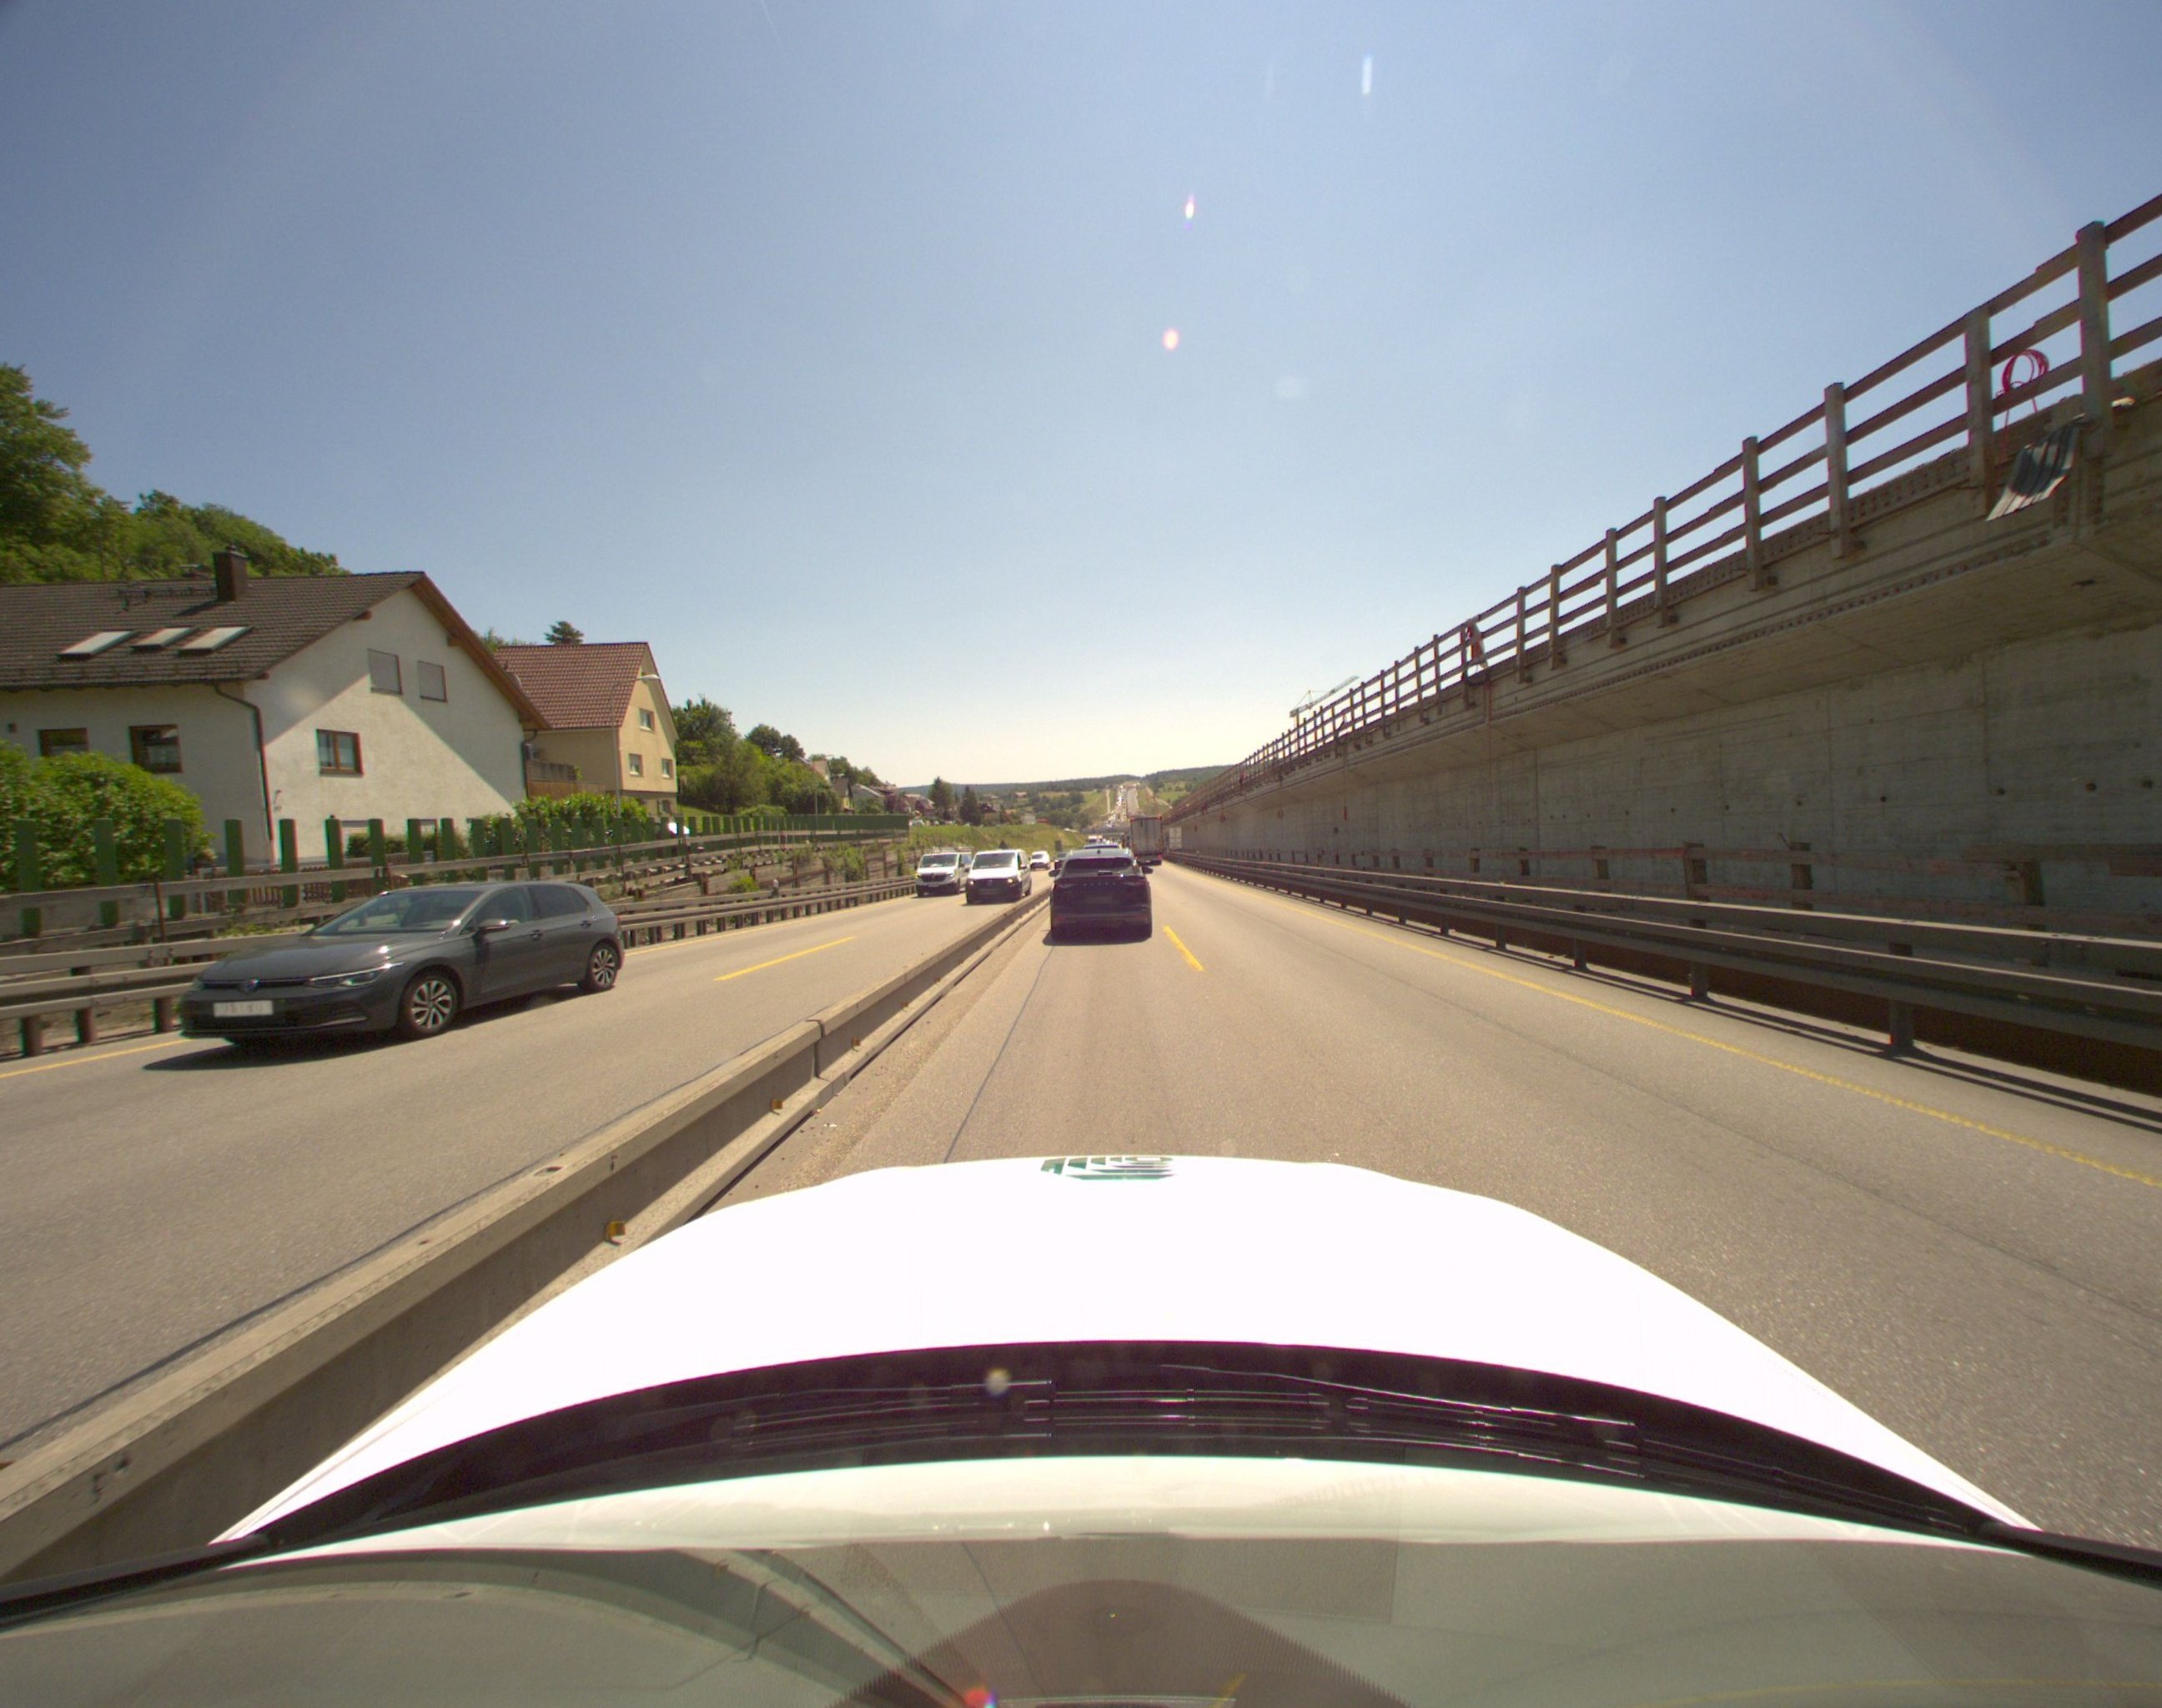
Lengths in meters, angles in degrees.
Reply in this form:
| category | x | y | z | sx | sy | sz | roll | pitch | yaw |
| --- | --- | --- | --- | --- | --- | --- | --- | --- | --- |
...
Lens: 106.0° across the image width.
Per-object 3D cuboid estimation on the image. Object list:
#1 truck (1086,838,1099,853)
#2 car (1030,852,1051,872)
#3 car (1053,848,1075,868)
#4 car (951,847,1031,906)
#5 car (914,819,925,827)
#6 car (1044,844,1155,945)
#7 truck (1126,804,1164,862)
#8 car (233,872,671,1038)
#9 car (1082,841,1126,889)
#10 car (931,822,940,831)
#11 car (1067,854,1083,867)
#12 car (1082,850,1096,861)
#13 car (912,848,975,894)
| category | x | y | z | sx | sy | sz | roll | pitch | yaw |
| --- | --- | --- | --- | --- | --- | --- | --- | --- | --- |
| truck | 3.559 | -2.530 | 250.333 | 3.176 | 4.238 | 6.471 | -3 | -1 | -6 |
| car | -3.934 | 0.787 | 79.595 | 1.590 | 1.833 | 4.755 | -3 | -1 | 2 |
| car | -1.486 | 0.339 | 73.040 | 1.768 | 1.633 | 4.102 | -2 | 0 | 2 |
| car | -3.180 | 0.785 | 29.928 | 2.149 | 1.906 | 5.328 | -2 | -1 | 2 |
| car | -34.015 | -6.529 | 171.735 | 1.992 | 1.319 | 3.988 | 0 | 0 | -8 |
| car | 0.358 | 0.674 | 15.623 | 1.776 | 1.597 | 3.756 | -4 | 0 | 1 |
| truck | 5.529 | -1.686 | 72.254 | 2.834 | 4.615 | 11.820 | -3 | -1 | 3 |
| car | -6.847 | 0.981 | 9.572 | 1.826 | 1.408 | 4.129 | -2 | -1 | 2 |
| car | 0.942 | 0.445 | 35.101 | 1.744 | 1.895 | 3.755 | -1 | 0 | 0 |
| car | -34.271 | -6.417 | 191.657 | 1.924 | 1.728 | 3.989 | -4 | 0 | -8 |
| car | -0.738 | 0.805 | 97.322 | 1.726 | 1.437 | 4.259 | -2 | -1 | 1 |
| car | 1.203 | 0.278 | 118.650 | 1.599 | 1.446 | 4.676 | -6 | -1 | 5 |
| car | -6.303 | 0.746 | 38.019 | 1.818 | 1.926 | 5.246 | -2 | 0 | 2 |
